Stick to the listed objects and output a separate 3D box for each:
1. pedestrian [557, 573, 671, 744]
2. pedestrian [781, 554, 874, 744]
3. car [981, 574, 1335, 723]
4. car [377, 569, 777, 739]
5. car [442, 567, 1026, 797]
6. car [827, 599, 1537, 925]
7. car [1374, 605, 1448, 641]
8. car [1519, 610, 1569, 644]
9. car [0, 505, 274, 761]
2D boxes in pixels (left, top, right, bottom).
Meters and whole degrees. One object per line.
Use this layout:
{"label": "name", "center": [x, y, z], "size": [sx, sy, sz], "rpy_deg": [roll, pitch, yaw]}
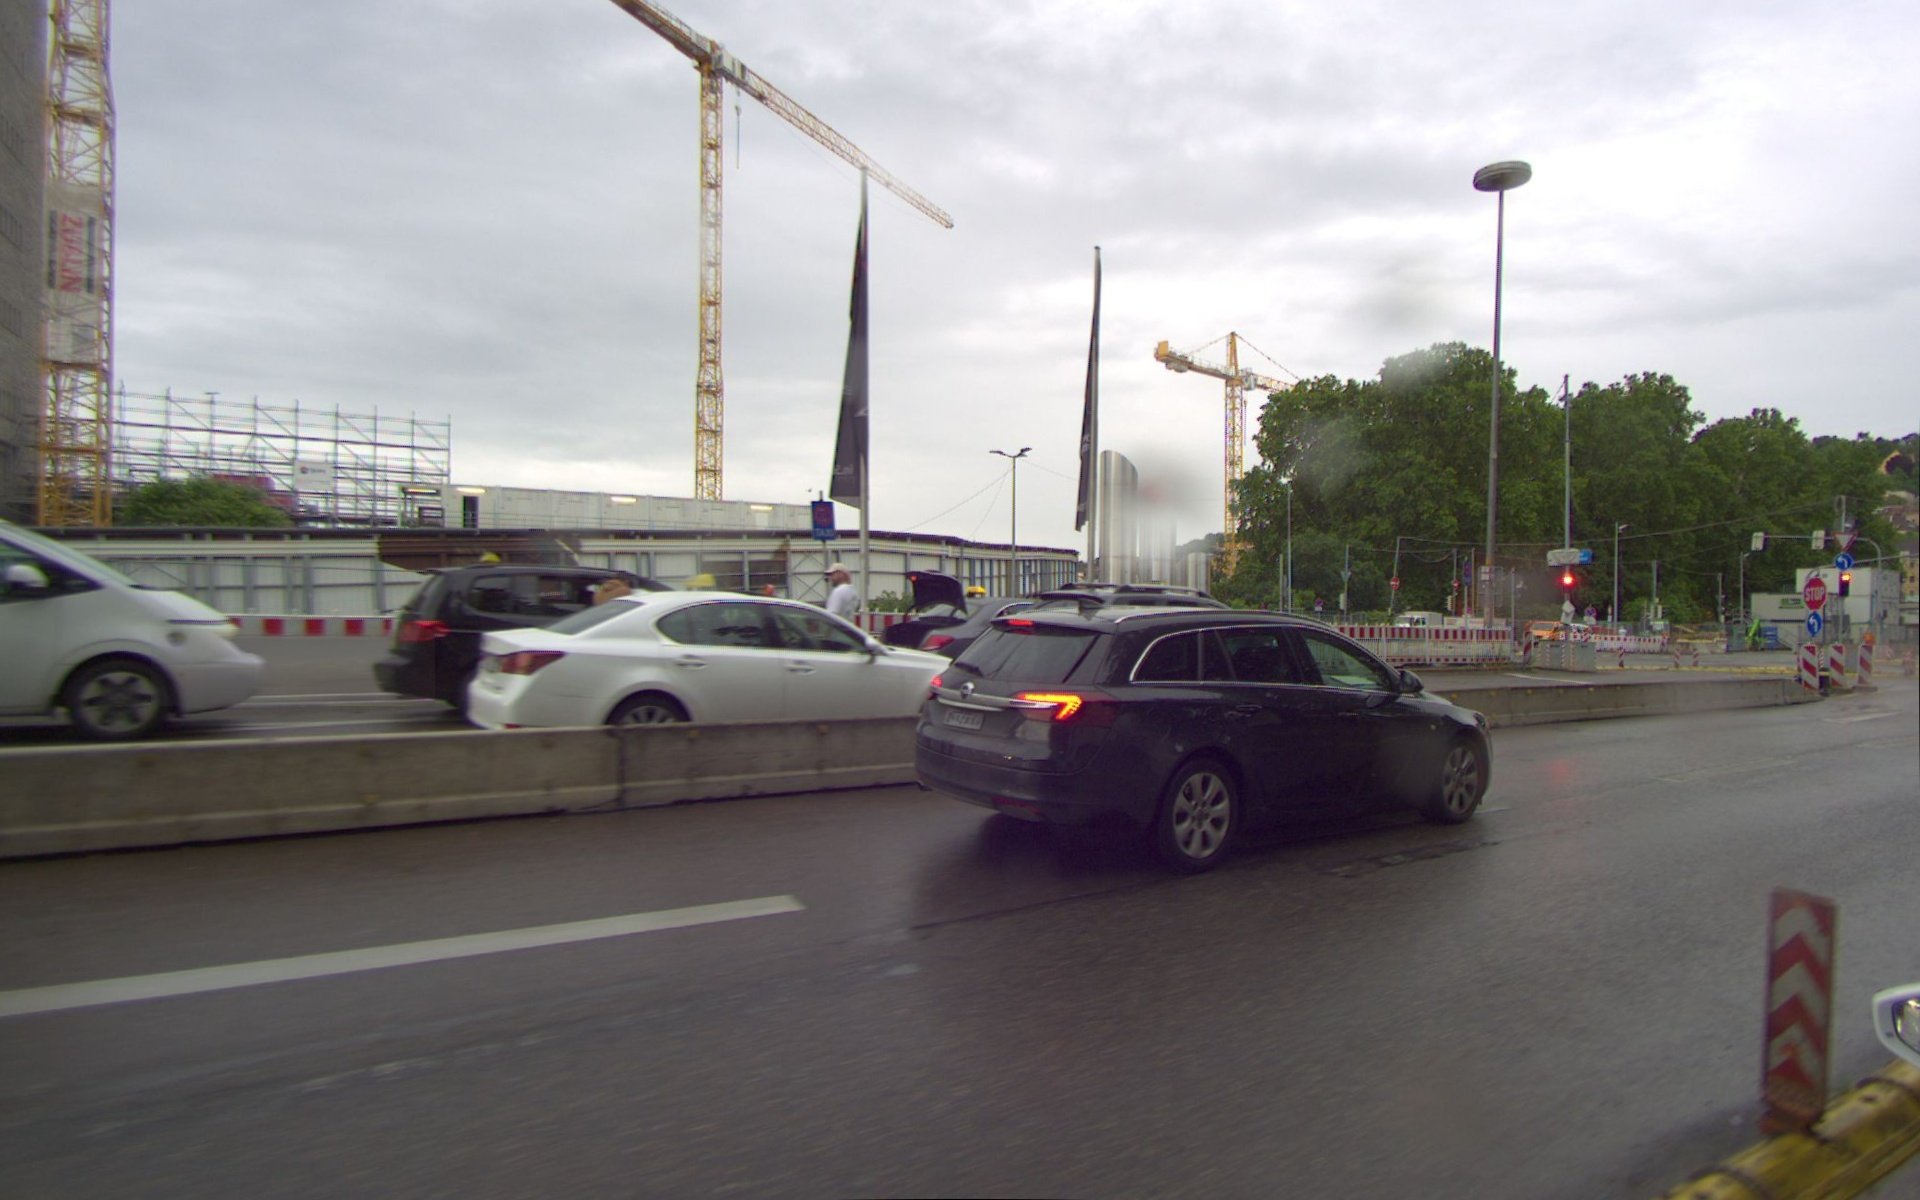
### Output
{"label": "pedestrian", "center": [-3.654, 0.588, 10.590], "size": [1.015, 1.705, 0.830], "rpy_deg": [0, 0, -28]}
{"label": "pedestrian", "center": [-1.471, 0.528, 11.326], "size": [0.819, 2.040, 1.028], "rpy_deg": [0, 0, 5]}
{"label": "car", "center": [2.500, 0.569, 12.417], "size": [4.108, 1.550, 1.982], "rpy_deg": [1, -2, -34]}
{"label": "car", "center": [-4.321, 0.542, 11.572], "size": [4.015, 1.651, 1.703], "rpy_deg": [1, 0, -35]}
{"label": "car", "center": [-1.899, 0.639, 9.142], "size": [4.825, 1.588, 1.981], "rpy_deg": [1, -2, -34]}
{"label": "car", "center": [1.680, 0.794, 6.799], "size": [4.799, 1.528, 1.867], "rpy_deg": [1, 0, -33]}
{"label": "car", "center": [35.297, 1.798, 78.566], "size": [5.722, 2.737, 2.372], "rpy_deg": [1, -2, -31]}
{"label": "car", "center": [42.445, 1.985, 72.943], "size": [4.483, 2.393, 1.898], "rpy_deg": [2, -3, -43]}
{"label": "car", "center": [-8.913, 0.237, 8.318], "size": [5.316, 2.040, 1.980], "rpy_deg": [1, 0, -35]}
